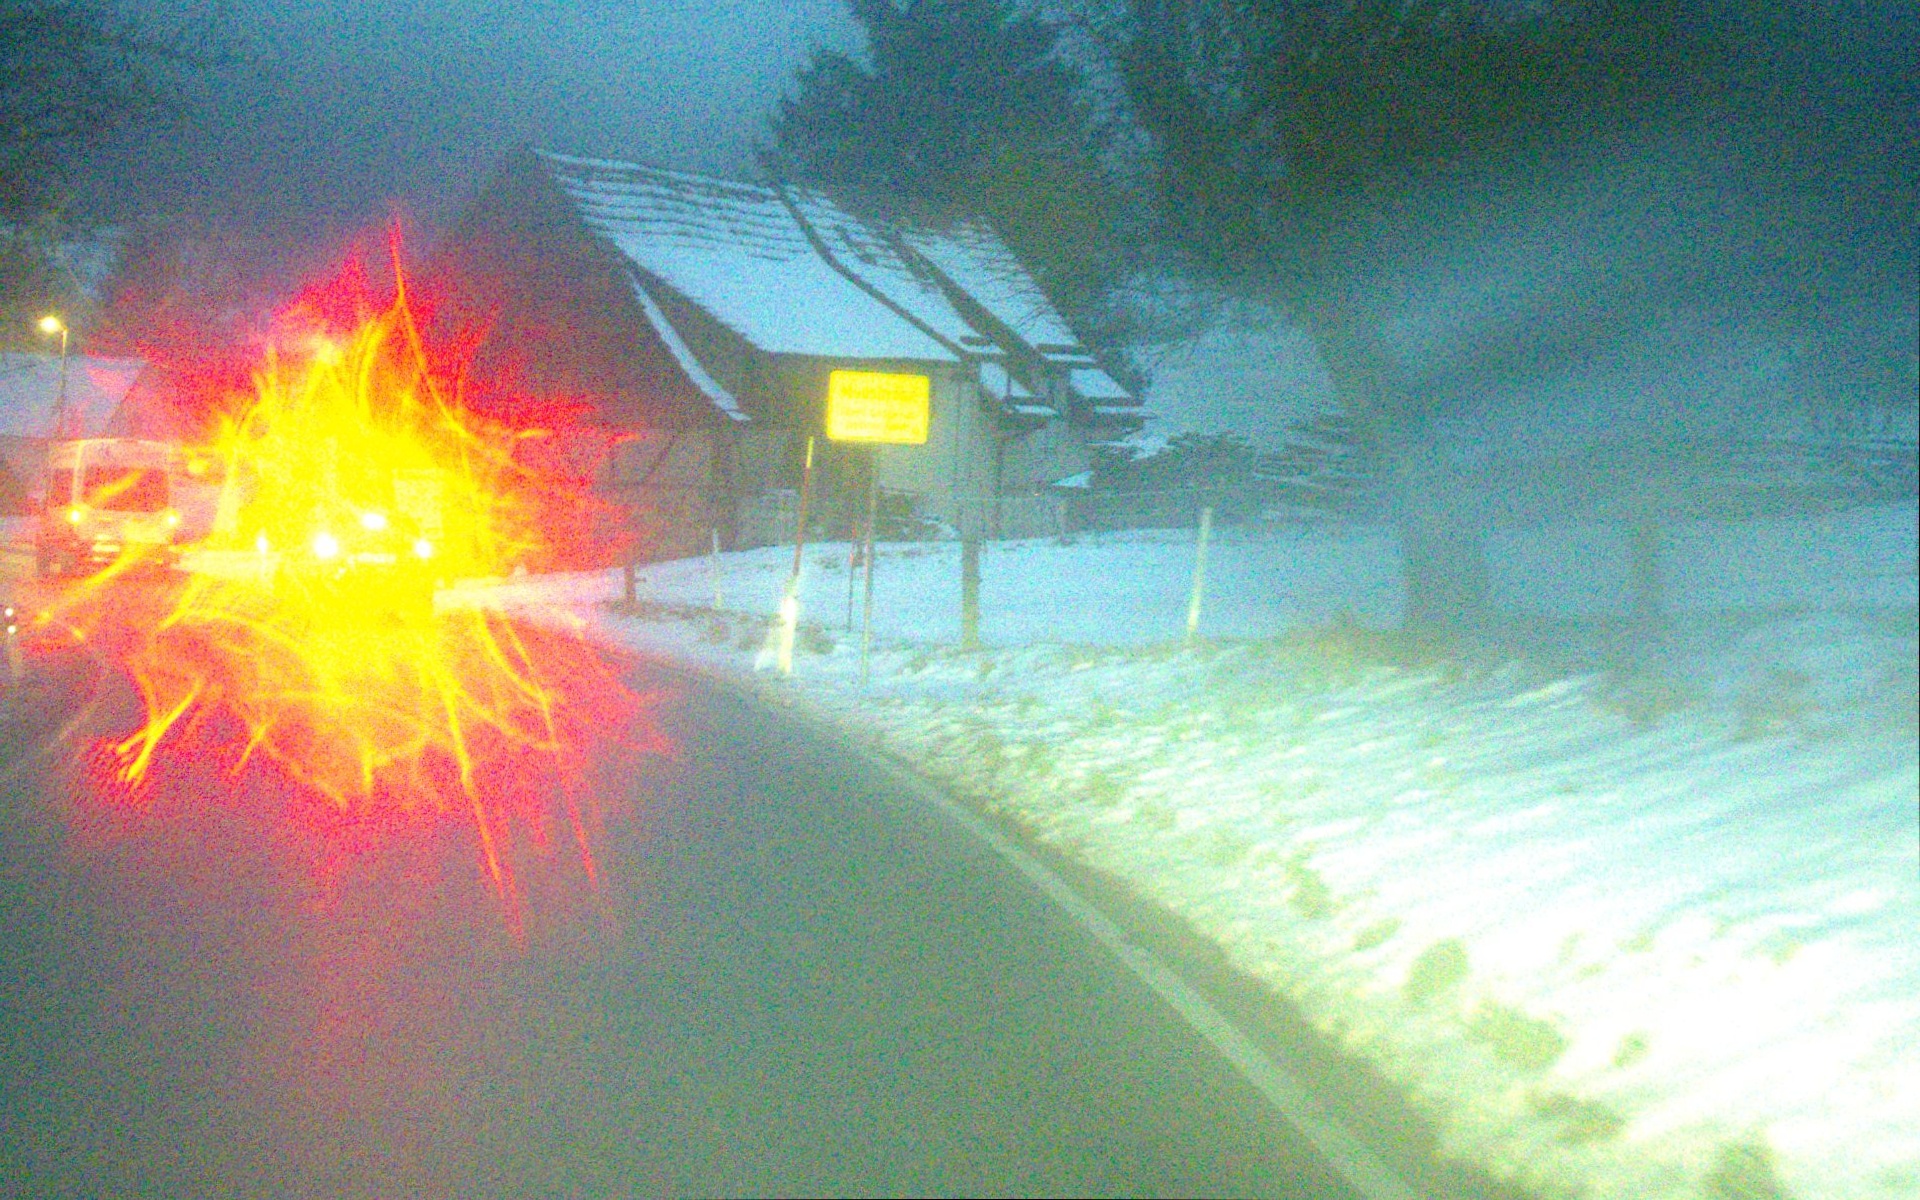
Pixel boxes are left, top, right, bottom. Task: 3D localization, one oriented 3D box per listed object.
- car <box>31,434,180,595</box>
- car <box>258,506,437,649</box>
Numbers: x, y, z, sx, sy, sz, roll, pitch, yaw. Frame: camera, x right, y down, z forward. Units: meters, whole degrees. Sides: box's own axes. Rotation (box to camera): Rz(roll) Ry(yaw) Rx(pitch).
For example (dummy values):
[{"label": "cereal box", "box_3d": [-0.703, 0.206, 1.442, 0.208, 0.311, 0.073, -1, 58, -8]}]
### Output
[{"label": "car", "box_3d": [-16.638, -1.626, 67.181, 2.434, 3.008, 5.326, 0, 0, -10]}, {"label": "car", "box_3d": [-8.481, -0.348, 47.426, 2.273, 1.834, 5.008, -1, 1, -11]}]
